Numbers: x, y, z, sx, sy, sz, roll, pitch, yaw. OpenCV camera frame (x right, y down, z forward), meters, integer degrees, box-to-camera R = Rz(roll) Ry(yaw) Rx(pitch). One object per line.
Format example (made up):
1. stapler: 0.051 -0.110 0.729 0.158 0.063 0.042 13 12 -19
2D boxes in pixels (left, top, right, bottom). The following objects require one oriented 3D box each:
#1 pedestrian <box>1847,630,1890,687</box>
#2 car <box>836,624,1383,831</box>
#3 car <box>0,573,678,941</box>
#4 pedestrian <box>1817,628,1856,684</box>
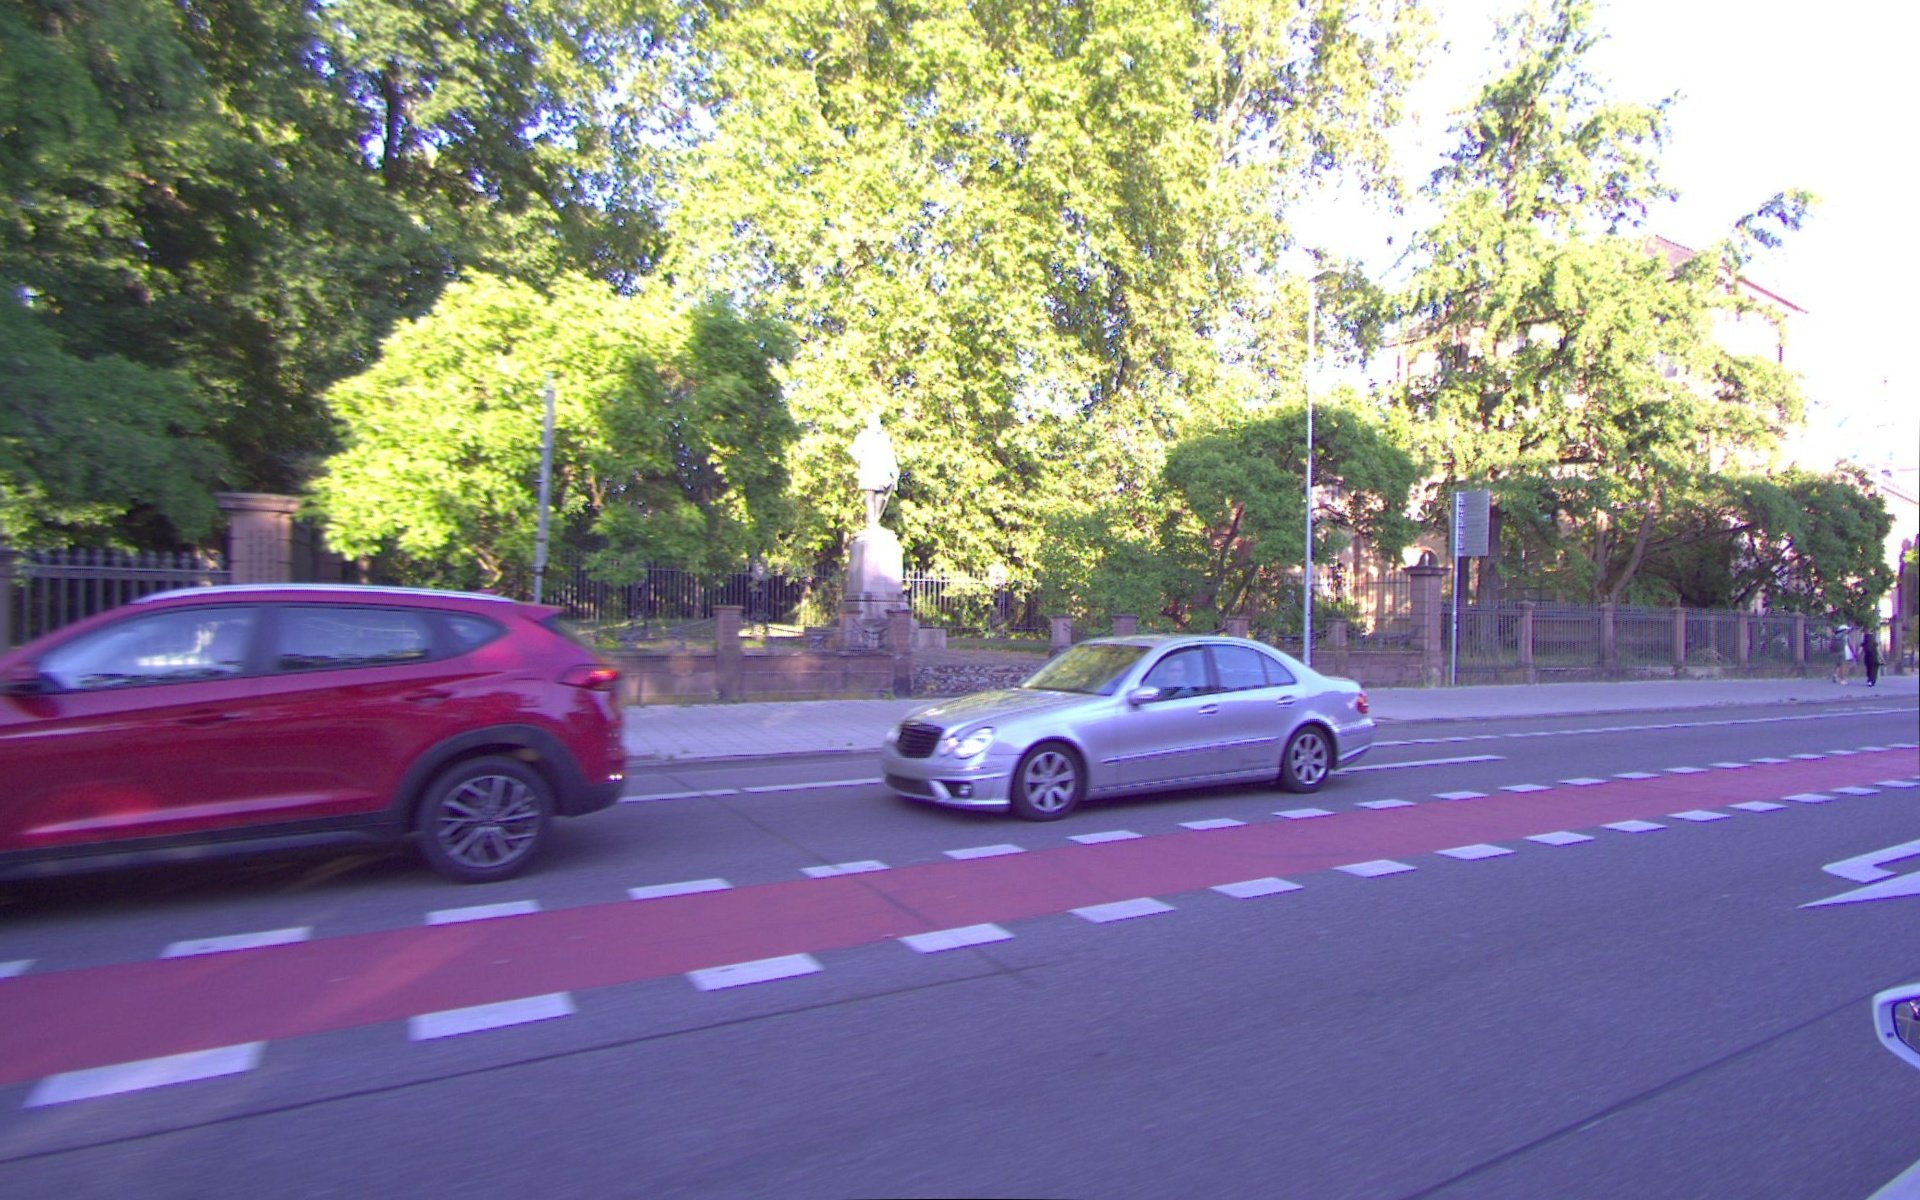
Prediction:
1. pedestrian: 26.773 1.717 29.604 0.678 1.644 0.680 1 -1 -19
2. car: 1.435 0.976 9.015 4.714 1.436 1.908 1 -3 -30
3. car: -4.148 0.754 5.712 4.584 1.646 1.908 1 -3 -30
4. pedestrian: 26.461 1.679 30.331 0.679 1.644 0.678 1 -1 -26
